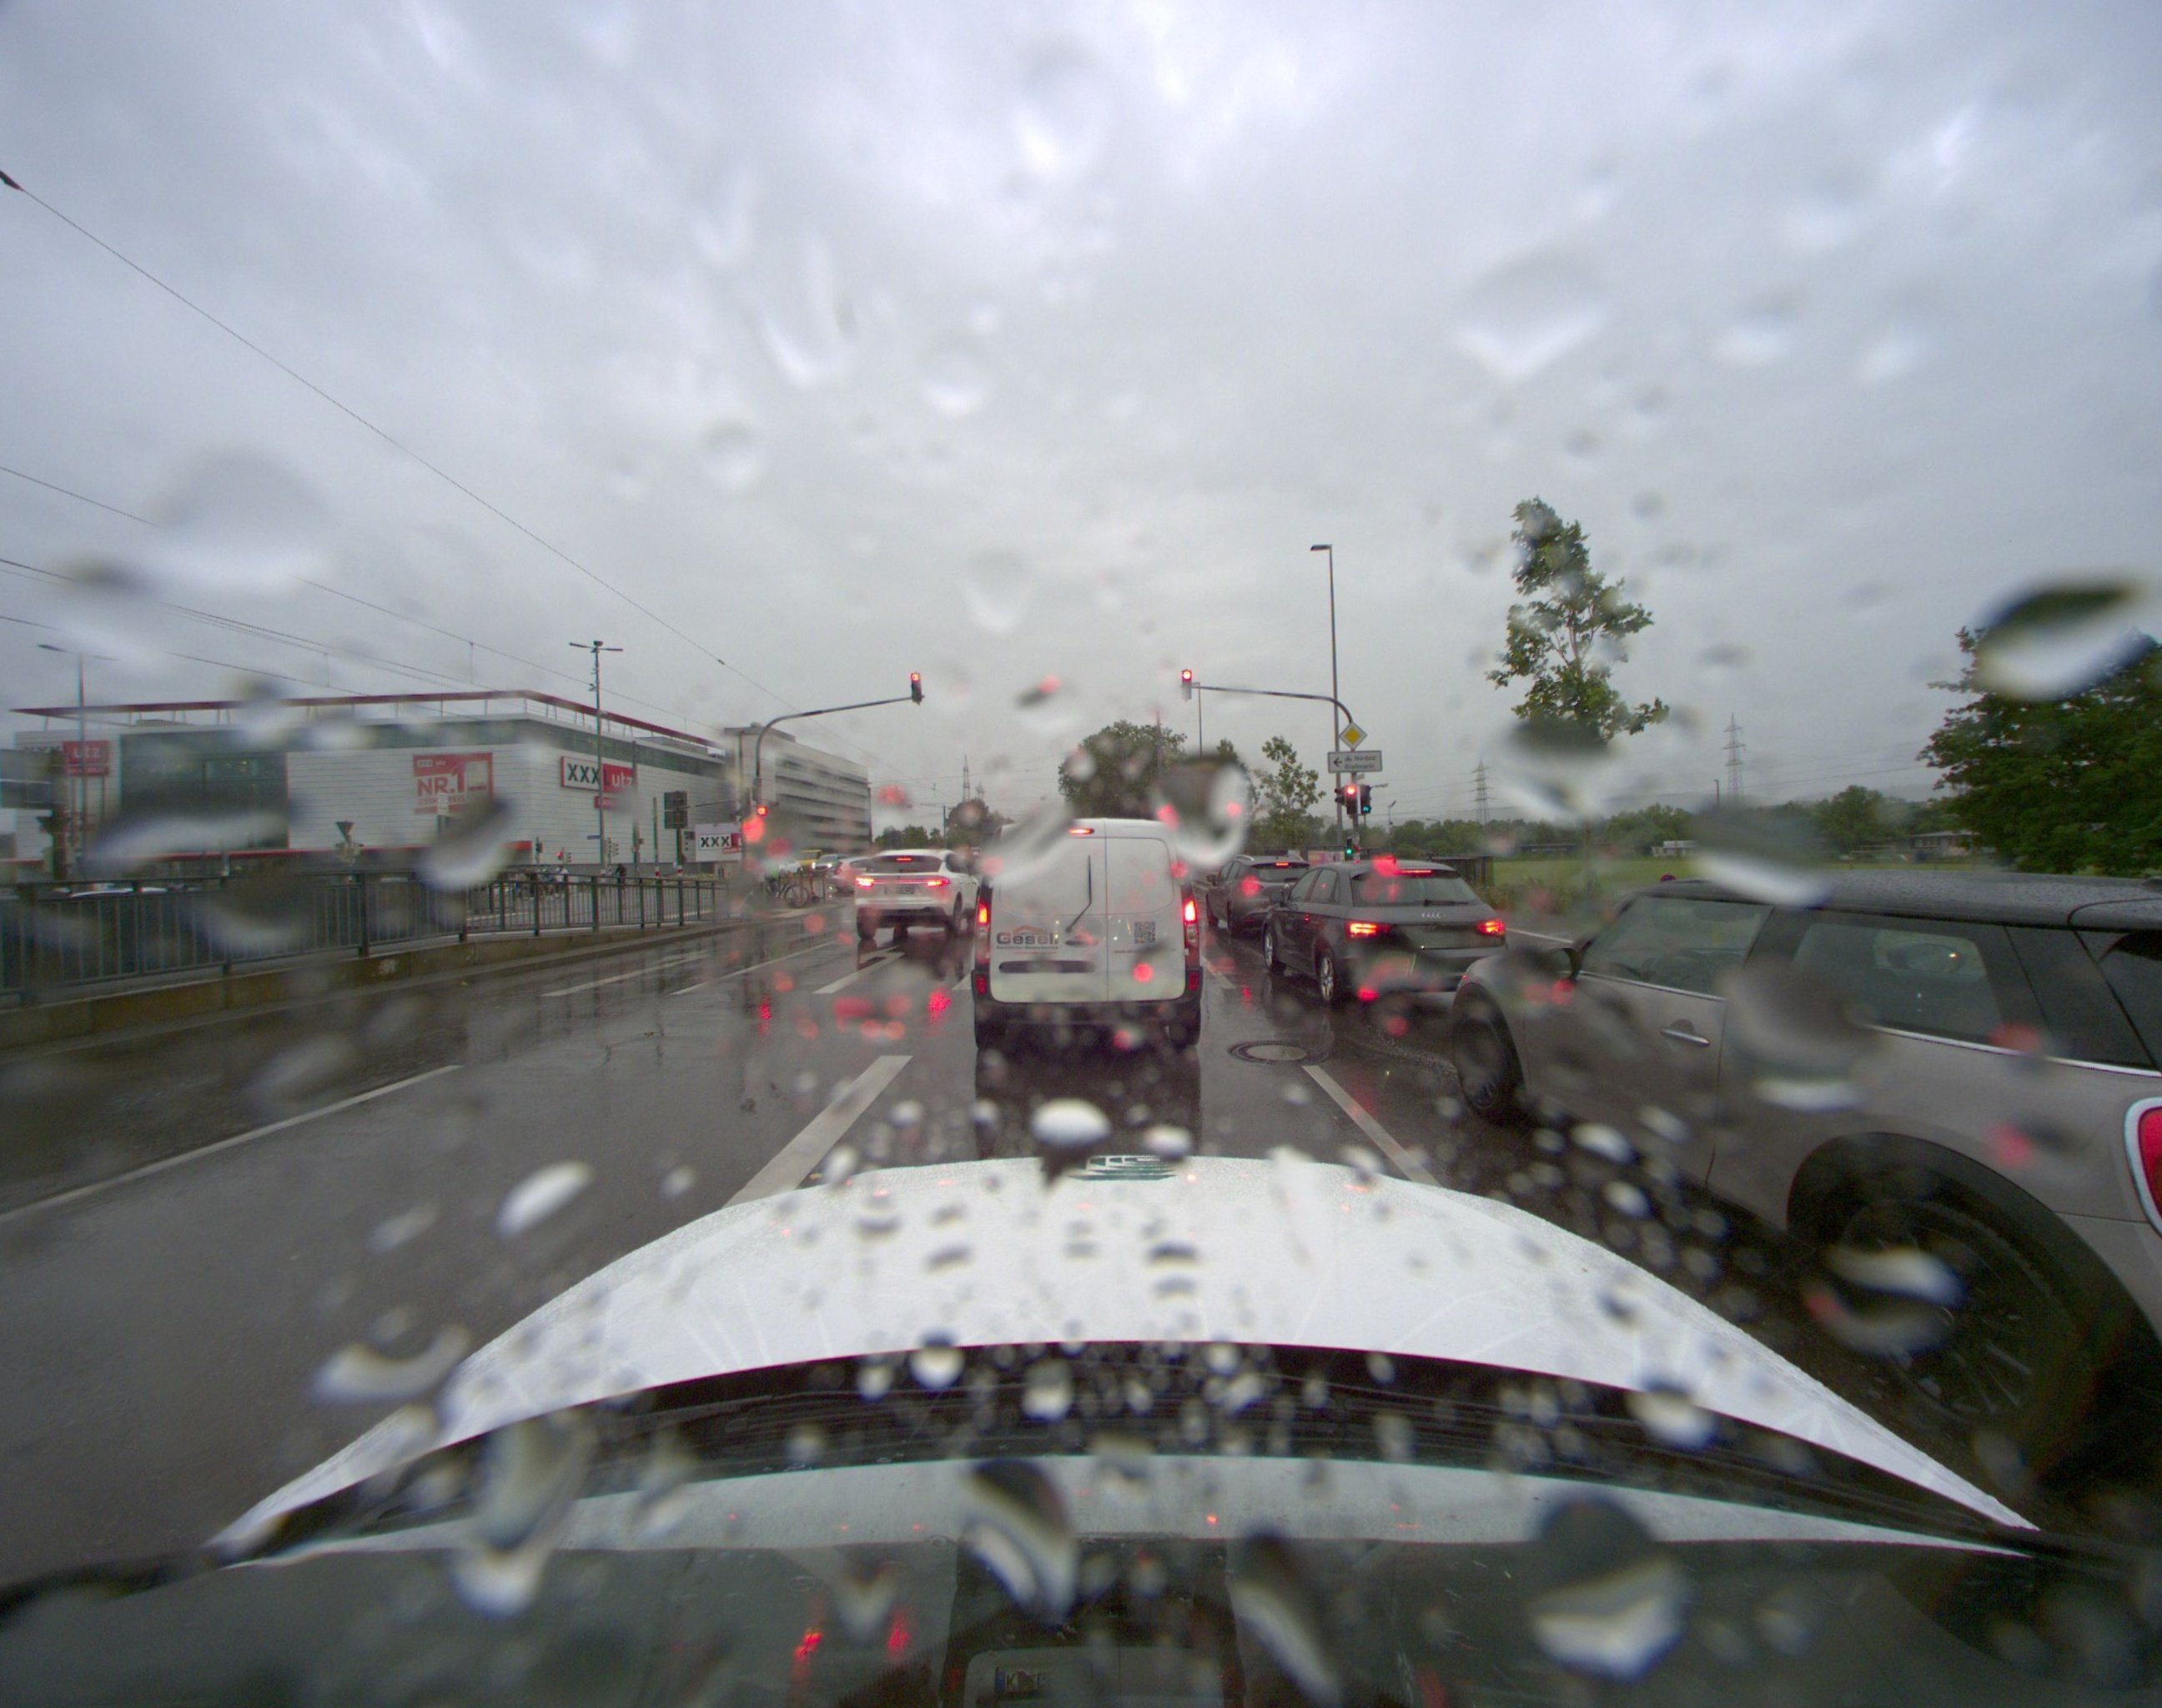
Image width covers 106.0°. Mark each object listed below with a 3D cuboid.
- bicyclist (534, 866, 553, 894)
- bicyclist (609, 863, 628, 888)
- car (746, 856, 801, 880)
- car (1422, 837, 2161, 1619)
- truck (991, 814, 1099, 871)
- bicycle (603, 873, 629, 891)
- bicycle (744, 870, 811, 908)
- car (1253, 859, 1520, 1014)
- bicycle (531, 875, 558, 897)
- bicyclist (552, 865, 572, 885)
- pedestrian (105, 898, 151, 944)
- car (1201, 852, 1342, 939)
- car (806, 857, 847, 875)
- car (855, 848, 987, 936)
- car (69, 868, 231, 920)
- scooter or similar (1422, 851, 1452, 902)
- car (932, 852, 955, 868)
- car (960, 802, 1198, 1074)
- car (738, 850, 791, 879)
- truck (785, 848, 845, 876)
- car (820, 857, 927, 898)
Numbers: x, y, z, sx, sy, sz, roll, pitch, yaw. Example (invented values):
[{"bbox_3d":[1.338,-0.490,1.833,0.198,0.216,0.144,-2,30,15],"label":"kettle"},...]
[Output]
[{"bbox_3d":[-27.310,1.296,41.378,0.531,1.399,0.650,0,-1,-1],"label":"bicyclist"},{"bbox_3d":[-26.569,1.237,46.808,0.681,1.464,0.647,0,-1,3],"label":"bicyclist"},{"bbox_3d":[-19.968,0.888,53.098,1.689,1.492,3.884,-1,-1,7],"label":"car"},{"bbox_3d":[2.957,0.715,3.263,1.707,1.508,3.624,0,0,1],"label":"car"},{"bbox_3d":[-1.755,-0.554,43.785,2.608,2.816,7.187,-1,-1,26],"label":"truck"},{"bbox_3d":[-26.562,1.596,46.576,0.448,0.987,1.710,0,-1,3],"label":"bicycle"},{"bbox_3d":[-8.861,1.013,23.820,1.745,1.034,0.414,2,-1,0],"label":"bicycle"},{"bbox_3d":[3.070,0.737,8.978,1.623,1.344,3.624,0,0,1],"label":"car"},{"bbox_3d":[-27.318,1.622,41.471,0.409,1.061,1.508,0,-1,-1],"label":"bicycle"},{"bbox_3d":[-28.989,1.162,45.453,0.681,1.134,0.647,0,-1,3],"label":"bicyclist"},{"bbox_3d":[-33.121,2.311,28.306,0.561,1.537,0.872,0,-1,1],"label":"pedestrian"},{"bbox_3d":[3.483,0.692,15.586,1.853,1.428,3.808,0,0,1],"label":"car"},{"bbox_3d":[-19.456,0.888,62.507,1.579,1.336,3.837,0,-1,6],"label":"car"},{"bbox_3d":[-3.045,0.645,16.356,1.723,1.535,4.298,0,0,1],"label":"car"},{"bbox_3d":[-37.775,1.602,33.118,4.298,2.014,2.001,0,-1,1],"label":"car"},{"bbox_3d":[8.469,0.522,19.386,0.244,1.158,1.187,0,-1,3],"label":"scooter or similar"},{"bbox_3d":[-17.656,0.780,104.505,1.985,2.014,4.004,0,-1,3],"label":"car"},{"bbox_3d":[0.051,0.571,7.437,1.560,1.788,4.002,-1,0,2],"label":"car"},{"bbox_3d":[-23.163,0.762,59.772,1.983,2.014,4.007,0,-1,6],"label":"car"},{"bbox_3d":[-22.543,0.660,69.443,2.342,2.279,7.637,0,0,2],"label":"truck"},{"bbox_3d":[-8.770,0.962,34.552,4.094,1.660,1.603,0,-1,-32],"label":"car"}]
